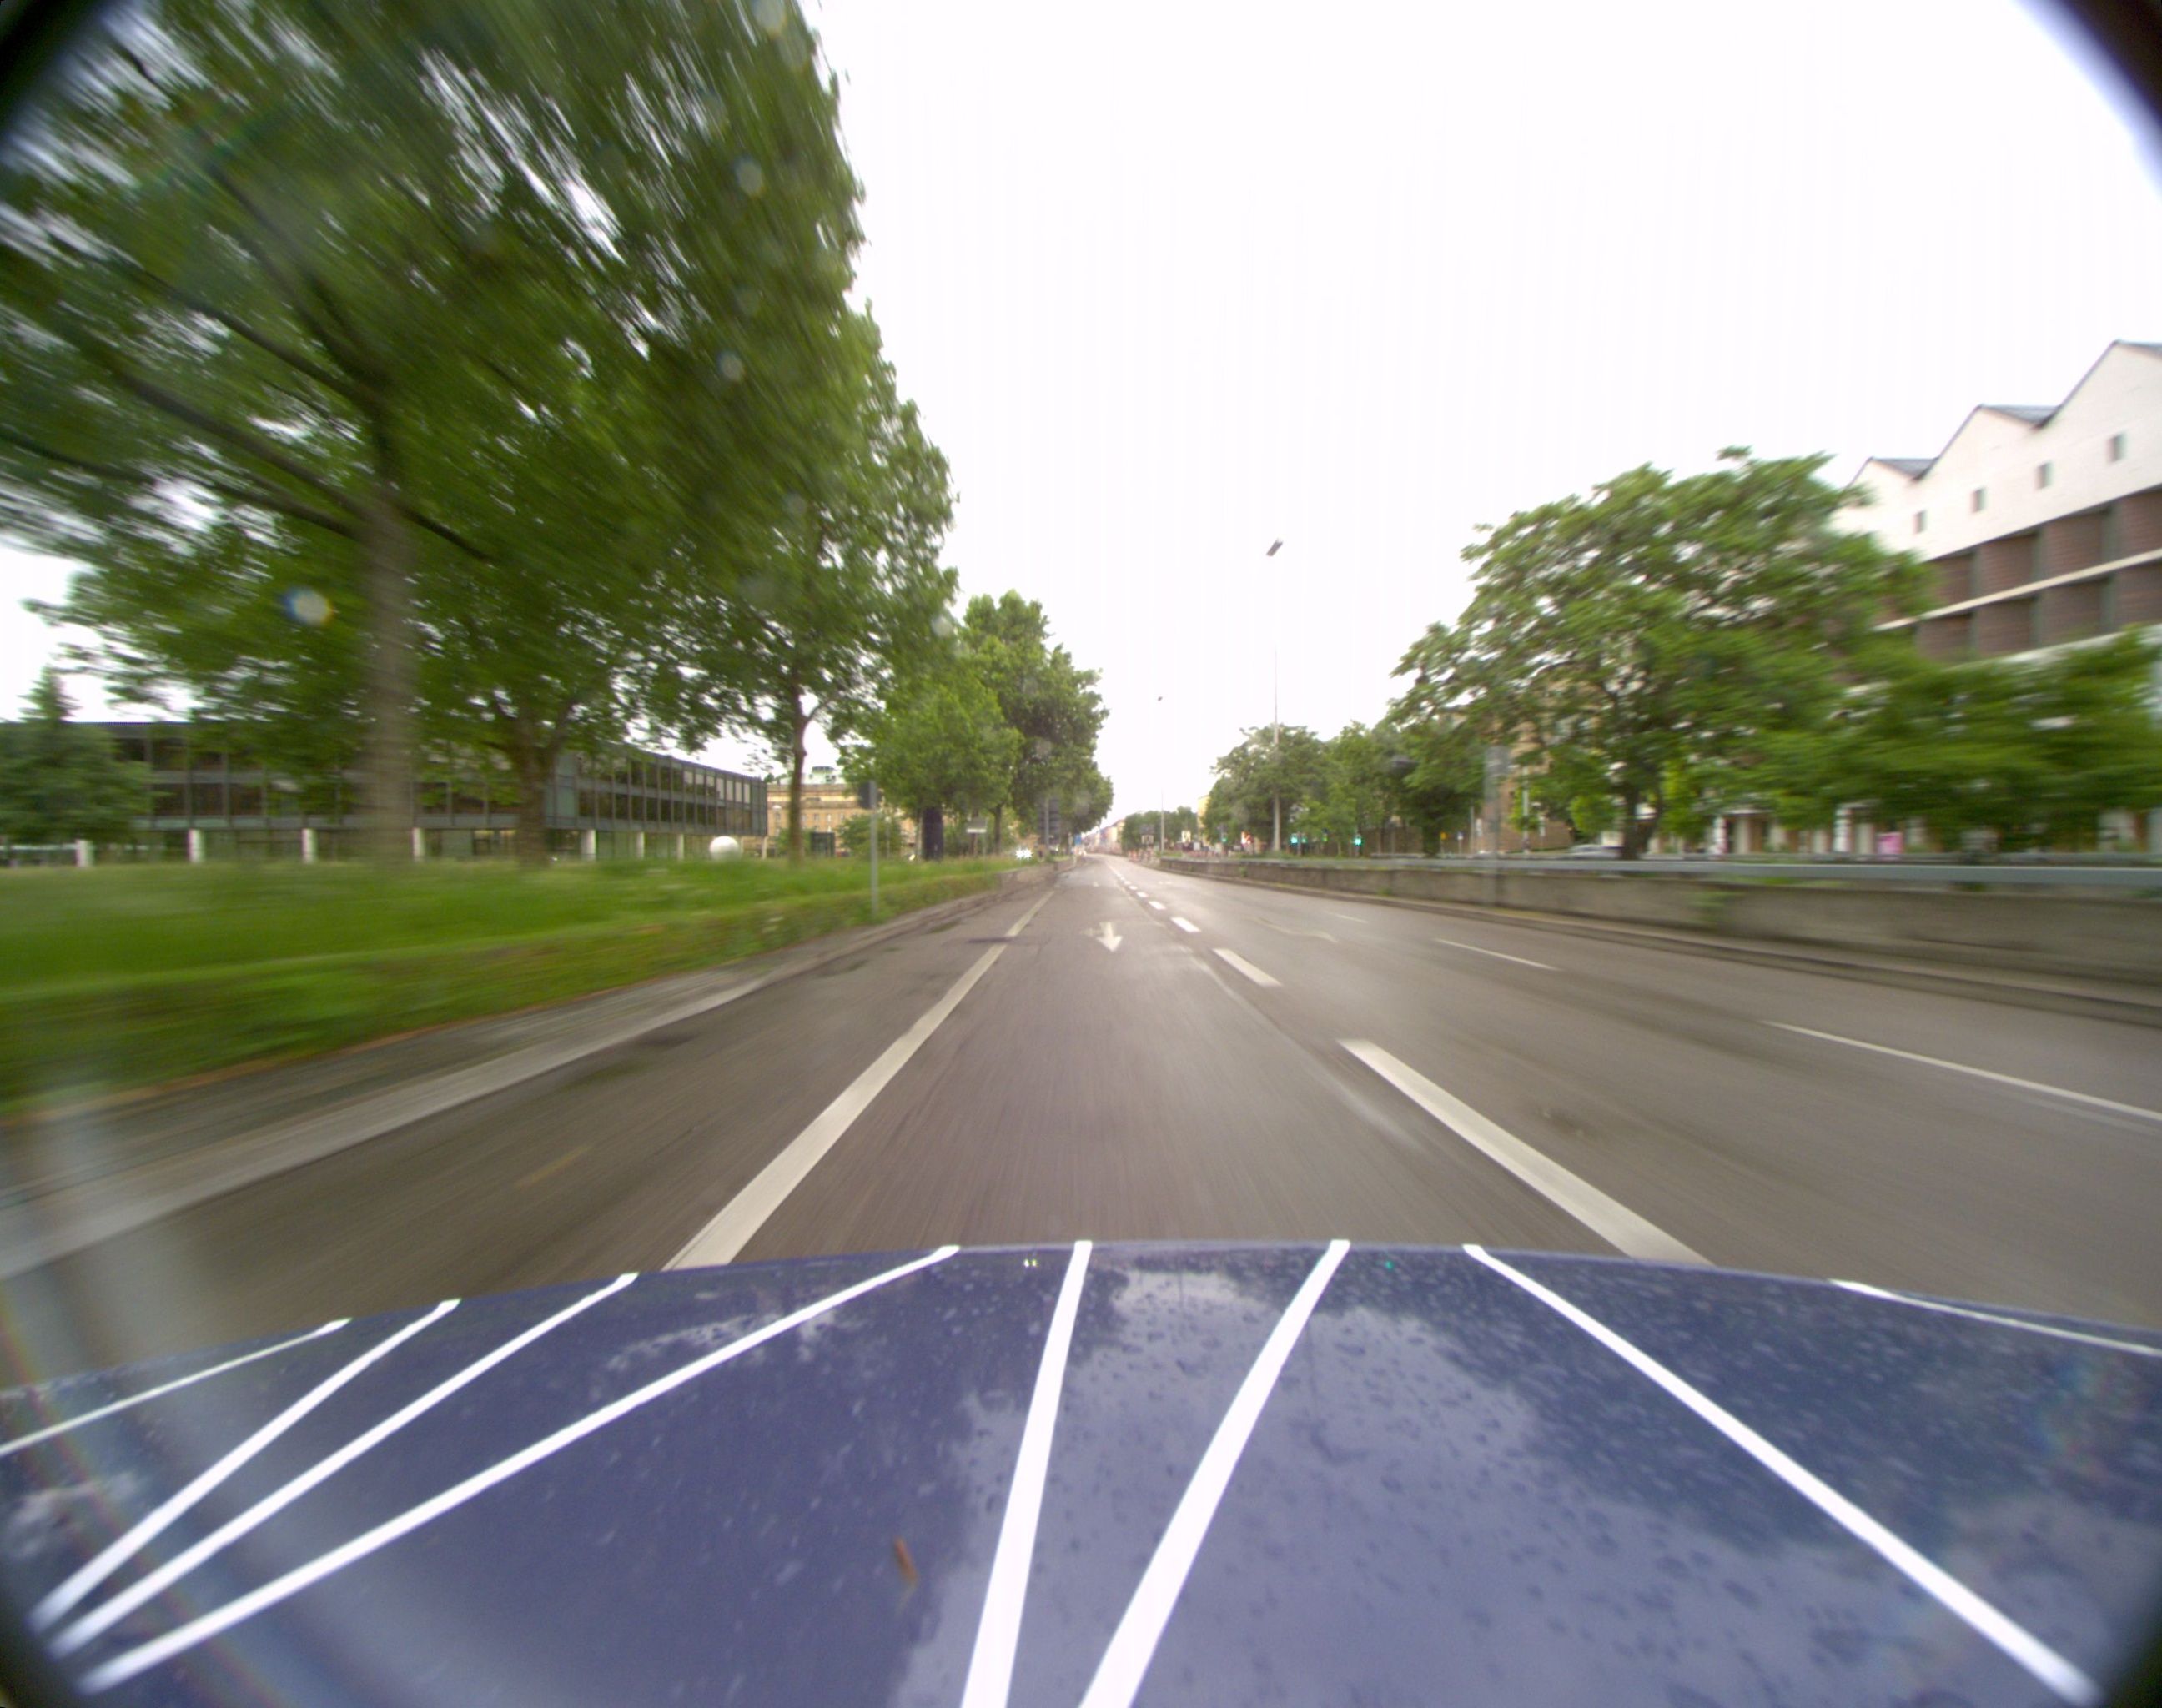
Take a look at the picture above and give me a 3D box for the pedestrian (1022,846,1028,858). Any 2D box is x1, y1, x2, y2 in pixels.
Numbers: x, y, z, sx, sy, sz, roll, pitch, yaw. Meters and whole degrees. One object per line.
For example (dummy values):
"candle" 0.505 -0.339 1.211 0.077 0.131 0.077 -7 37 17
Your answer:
"pedestrian" -7.607 -0.293 103.107 0.671 1.656 0.587 -1 2 -16

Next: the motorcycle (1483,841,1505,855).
"motorcycle" 38.043 -0.578 69.968 1.817 1.175 0.606 -2 2 -14

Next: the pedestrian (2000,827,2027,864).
"pedestrian" 46.698 -0.431 38.062 0.738 1.848 0.703 -1 2 42

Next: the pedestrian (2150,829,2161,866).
"pedestrian" 47.926 -0.308 33.477 0.740 1.618 0.701 -2 2 -5

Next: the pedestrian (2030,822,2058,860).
"pedestrian" 47.449 -0.657 37.429 0.738 1.848 0.703 -1 2 42

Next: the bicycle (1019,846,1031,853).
"bicycle" -9.469 -0.739 128.099 1.758 1.059 0.827 -3 2 -20

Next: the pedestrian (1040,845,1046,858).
"pedestrian" -5.472 -0.352 109.601 0.595 1.764 0.586 -3 2 -19

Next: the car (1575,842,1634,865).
"car" 30.191 -0.050 43.870 1.298 1.270 2.821 -2 1 -5

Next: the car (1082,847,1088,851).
"car" 1.150 -1.404 225.978 1.517 1.138 2.761 -2 1 3
